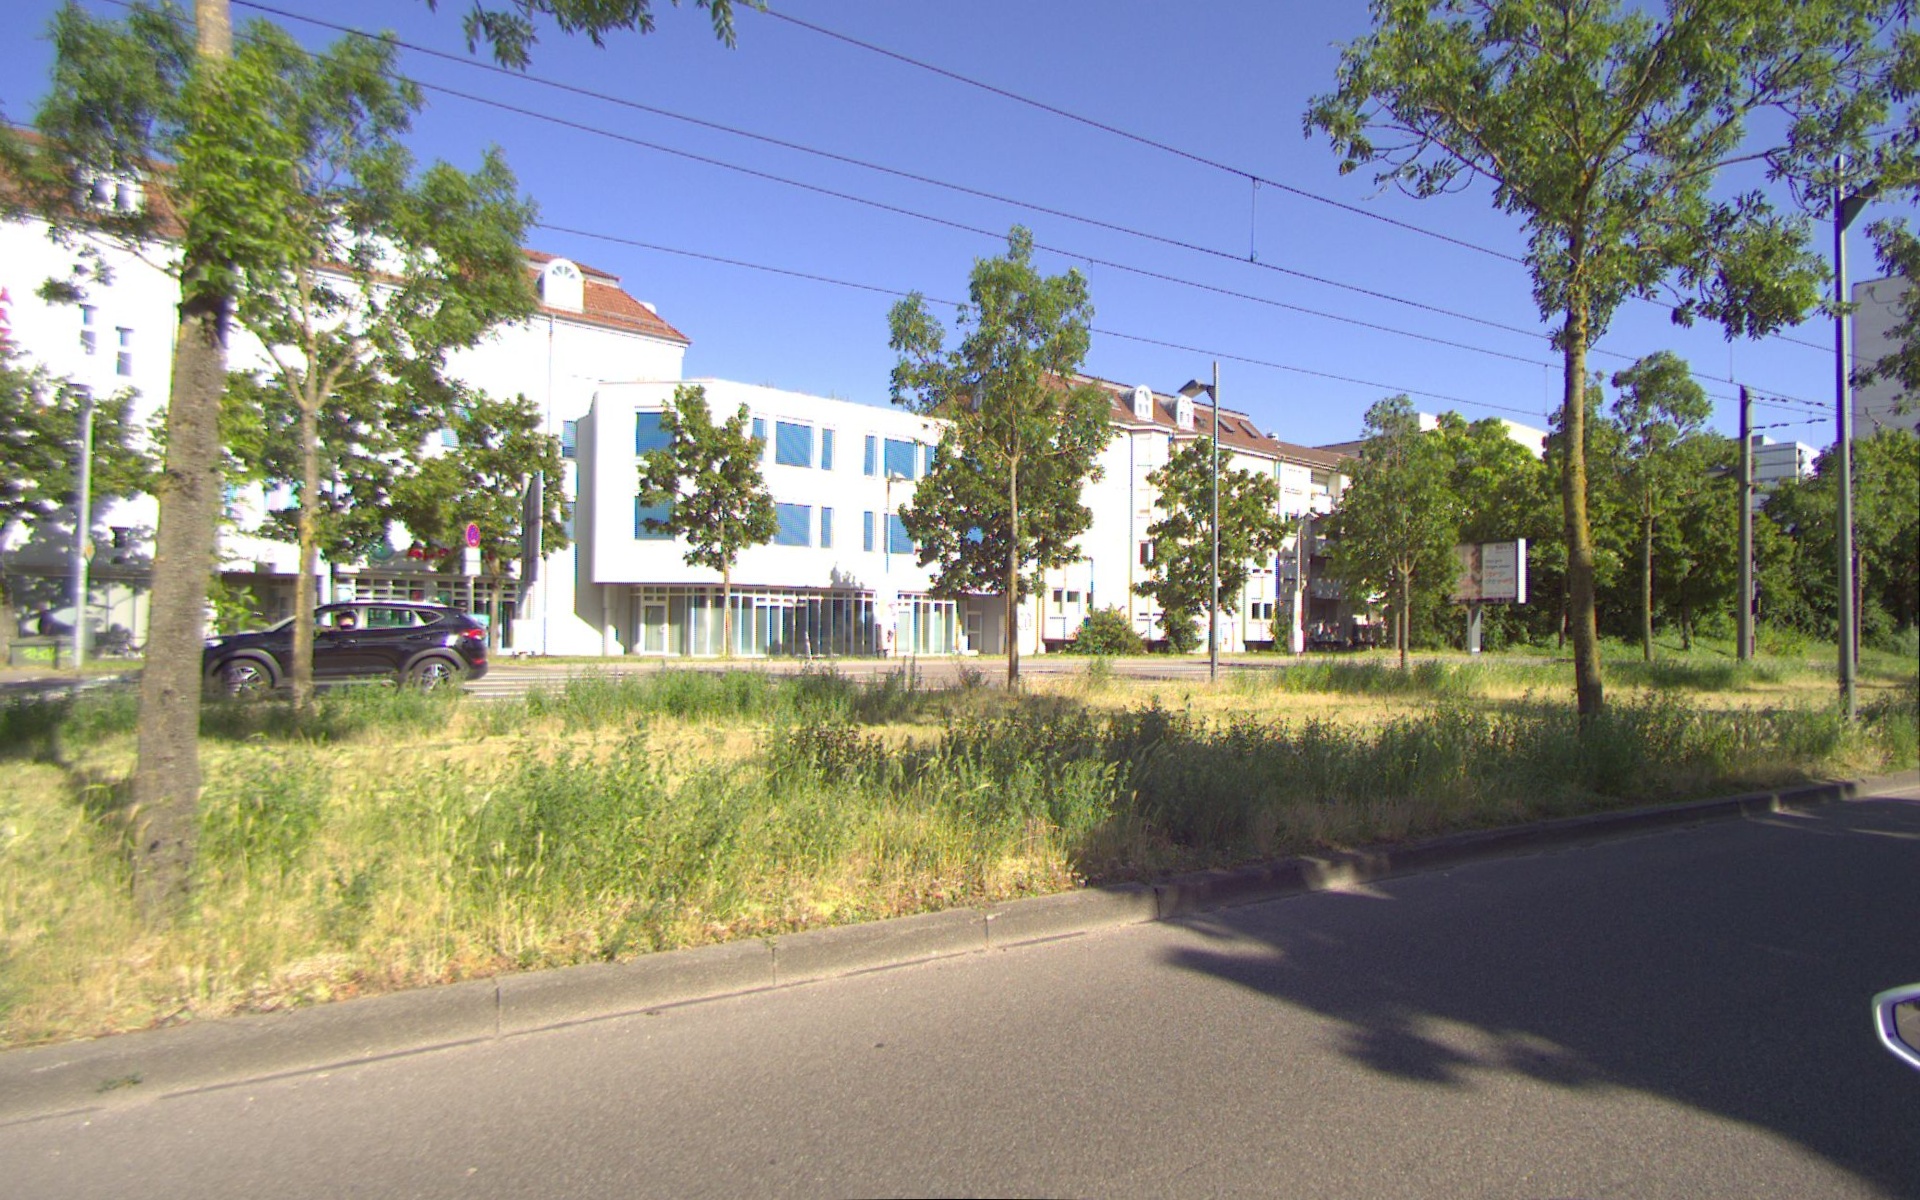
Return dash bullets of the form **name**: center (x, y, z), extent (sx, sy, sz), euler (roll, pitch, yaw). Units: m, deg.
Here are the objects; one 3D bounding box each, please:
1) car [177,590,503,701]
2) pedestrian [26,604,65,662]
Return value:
- **car**: center (-10.259, 0.750, 16.957), extent (4.439, 1.662, 1.810), euler (2, -2, -32)
- **pedestrian**: center (-27.379, 0.982, 30.085), extent (0.773, 1.713, 0.794), euler (2, -2, -38)
